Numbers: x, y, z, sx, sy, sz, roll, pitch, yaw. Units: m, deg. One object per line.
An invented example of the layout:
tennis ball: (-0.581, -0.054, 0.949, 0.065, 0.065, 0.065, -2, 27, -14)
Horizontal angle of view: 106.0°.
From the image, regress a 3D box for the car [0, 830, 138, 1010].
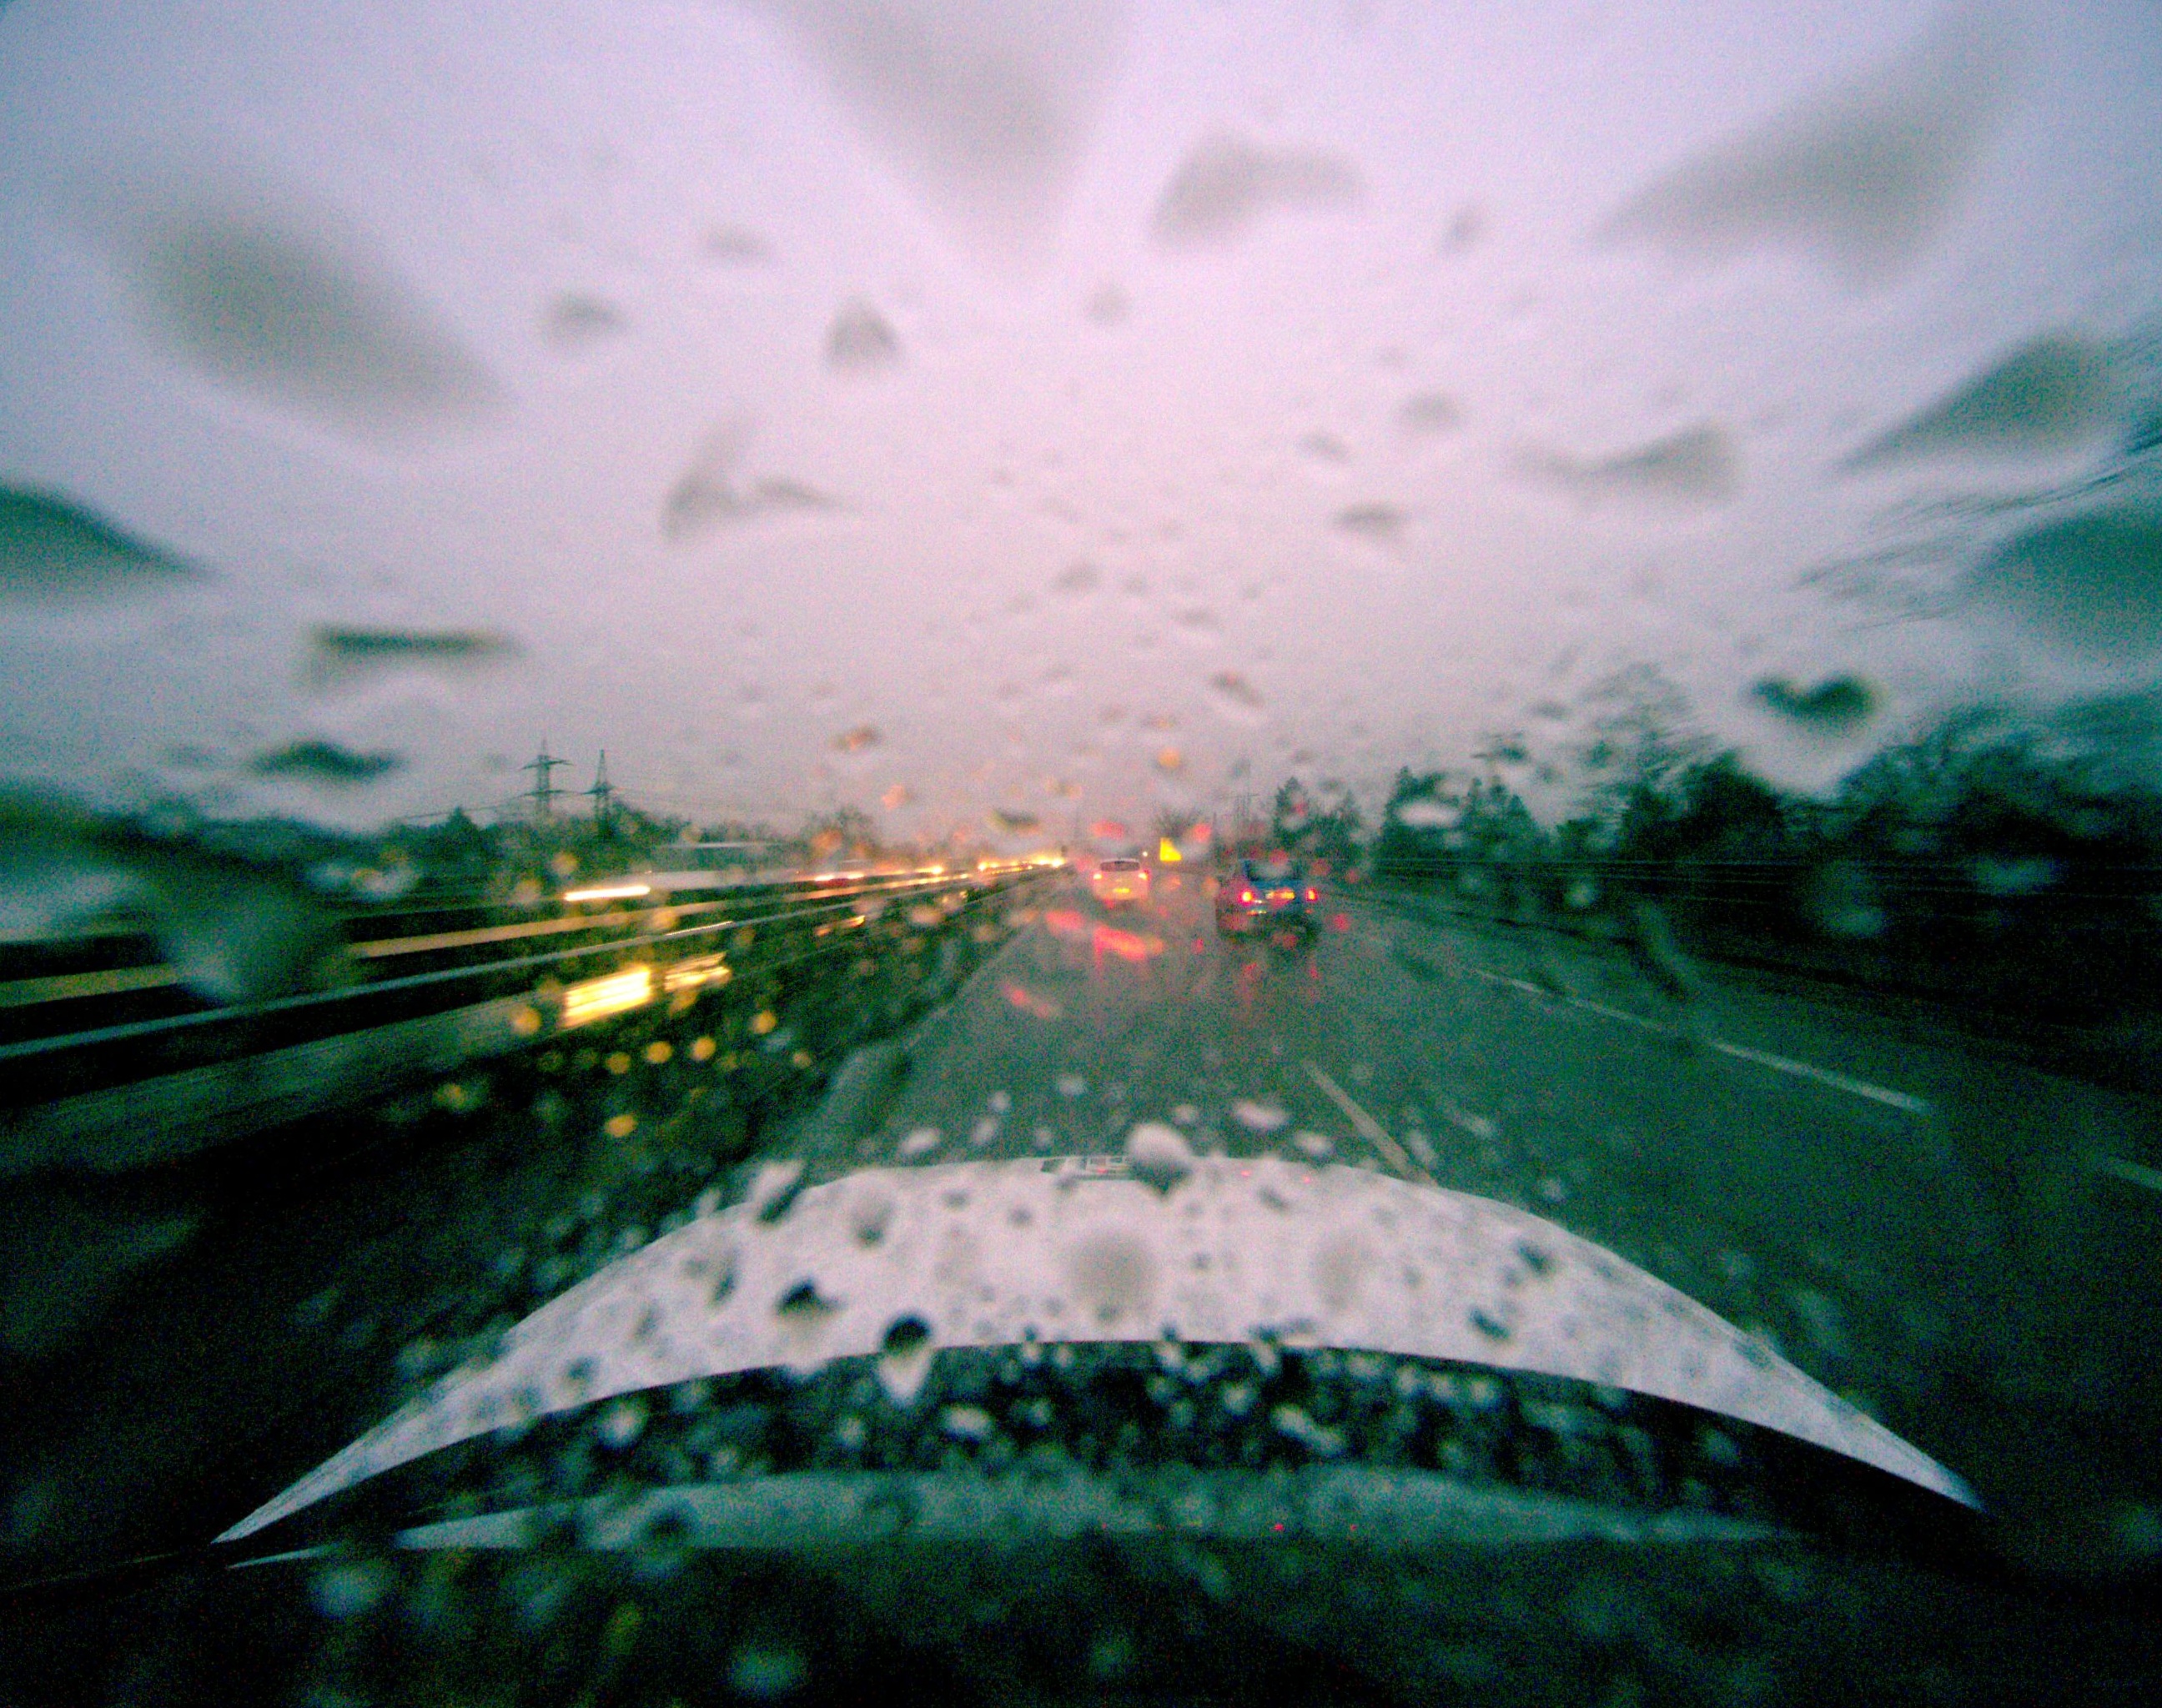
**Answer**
car: (-10.359, 0.600, 6.139, 1.848, 1.566, 3.923, -1, 0, 1)

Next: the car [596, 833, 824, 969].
car: (-6.592, 0.736, 15.145, 2.073, 2.148, 4.463, 0, 0, 2)

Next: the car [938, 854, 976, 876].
car: (-9.066, 0.786, 59.896, 1.960, 1.524, 4.202, -1, 0, 3)

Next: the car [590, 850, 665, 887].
car: (-26.012, 0.801, 46.837, 1.986, 2.014, 4.001, 0, 0, 2)

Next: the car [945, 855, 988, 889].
car: (-6.068, 0.929, 43.522, 1.680, 1.684, 3.508, -1, 0, 2)

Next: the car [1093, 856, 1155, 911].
car: (1.389, 0.904, 26.348, 1.838, 1.636, 3.770, -1, -1, 3)

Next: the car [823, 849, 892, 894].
car: (-9.682, 0.720, 35.574, 1.736, 1.816, 4.002, -1, 0, 2)

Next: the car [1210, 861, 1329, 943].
car: (3.875, 0.926, 17.425, 1.837, 1.453, 4.153, -1, 0, 4)
